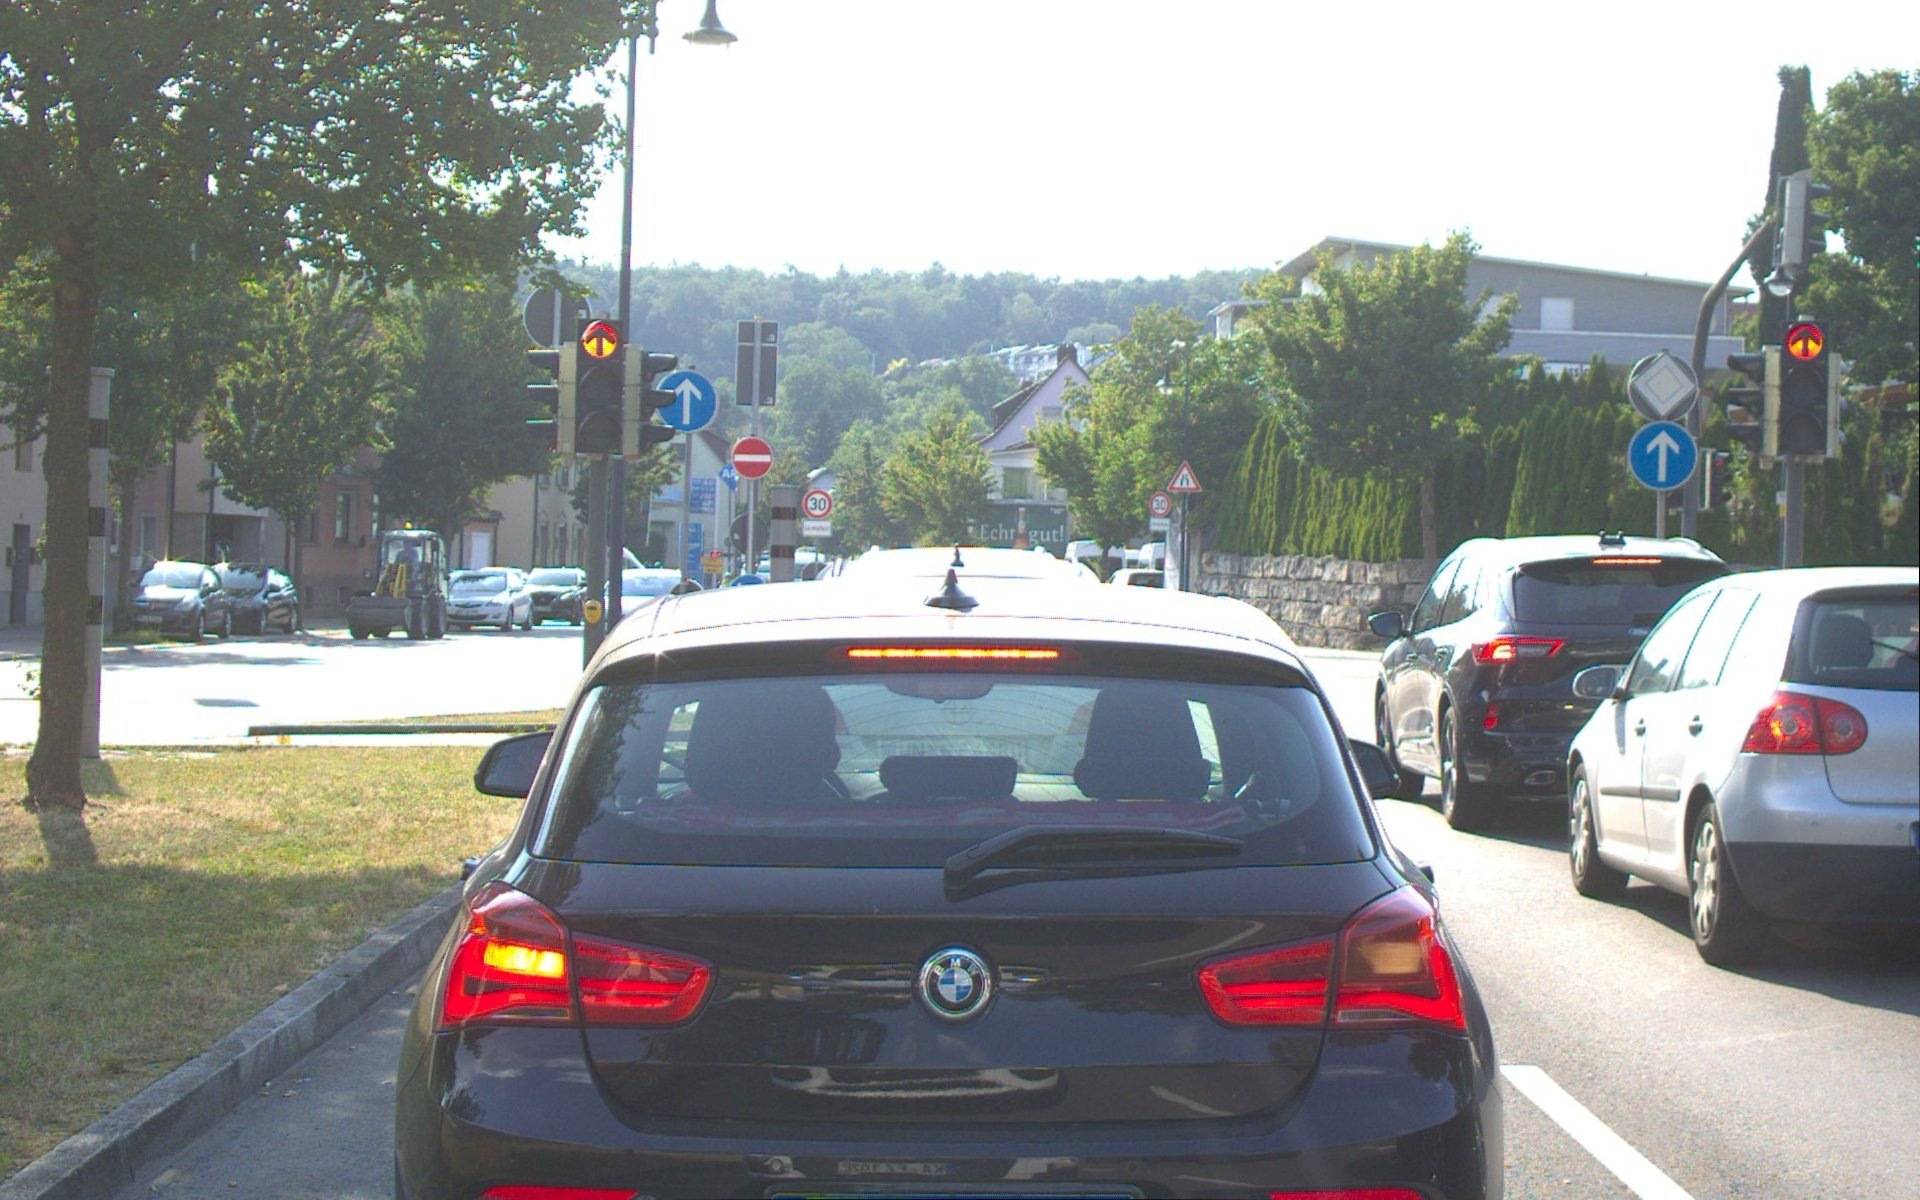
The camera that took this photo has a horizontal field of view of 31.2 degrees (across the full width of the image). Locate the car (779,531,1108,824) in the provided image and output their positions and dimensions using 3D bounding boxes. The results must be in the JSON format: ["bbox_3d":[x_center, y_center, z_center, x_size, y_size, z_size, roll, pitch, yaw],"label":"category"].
[{"bbox_3d":[-0.087,0.390,21.027,1.788,1.588,4.281,-1,1,0],"label":"car"}]

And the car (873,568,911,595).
[{"bbox_3d":[-3.635,-0.995,184.568,1.737,1.296,3.799,5,1,2],"label":"car"}]

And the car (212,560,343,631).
[{"bbox_3d":[-14.519,-0.117,73.321,1.737,1.296,4.000,5,1,2],"label":"car"}]

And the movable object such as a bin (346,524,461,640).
[{"bbox_3d":[-11.962,-0.405,74.180,1.736,2.433,4.450,0,1,0],"label":"movable object such as a bin"}]

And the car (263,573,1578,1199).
[{"bbox_3d":[-0.047,0.674,6.842,1.788,1.393,4.281,-1,1,0],"label":"car"}]

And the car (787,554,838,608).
[{"bbox_3d":[-6.797,-0.897,158.914,2.084,2.385,5.529,1,1,0],"label":"car"}]

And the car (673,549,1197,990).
[{"bbox_3d":[-0.082,0.554,13.987,1.788,1.488,4.281,-1,1,0],"label":"car"}]

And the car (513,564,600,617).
[{"bbox_3d":[-11.327,-0.282,96.682,1.737,1.296,3.799,5,1,2],"label":"car"}]

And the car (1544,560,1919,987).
[{"bbox_3d":[3.547,0.572,13.725,1.761,1.421,3.903,-1,1,0],"label":"car"}]

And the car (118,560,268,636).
[{"bbox_3d":[-14.938,-0.061,67.138,1.737,1.296,4.000,5,1,3],"label":"car"}]

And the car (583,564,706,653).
[{"bbox_3d":[-5.535,0.128,60.698,1.839,1.477,4.000,1,1,-1],"label":"car"}]

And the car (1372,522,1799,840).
[{"bbox_3d":[3.521,0.395,20.006,1.761,1.650,3.903,-1,1,0],"label":"car"}]

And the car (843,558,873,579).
[{"bbox_3d":[-7.240,-2.258,244.125,1.737,1.296,3.799,5,1,2],"label":"car"}]

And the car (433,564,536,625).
[{"bbox_3d":[-11.637,-0.152,84.322,1.737,1.296,3.799,5,1,2],"label":"car"}]
